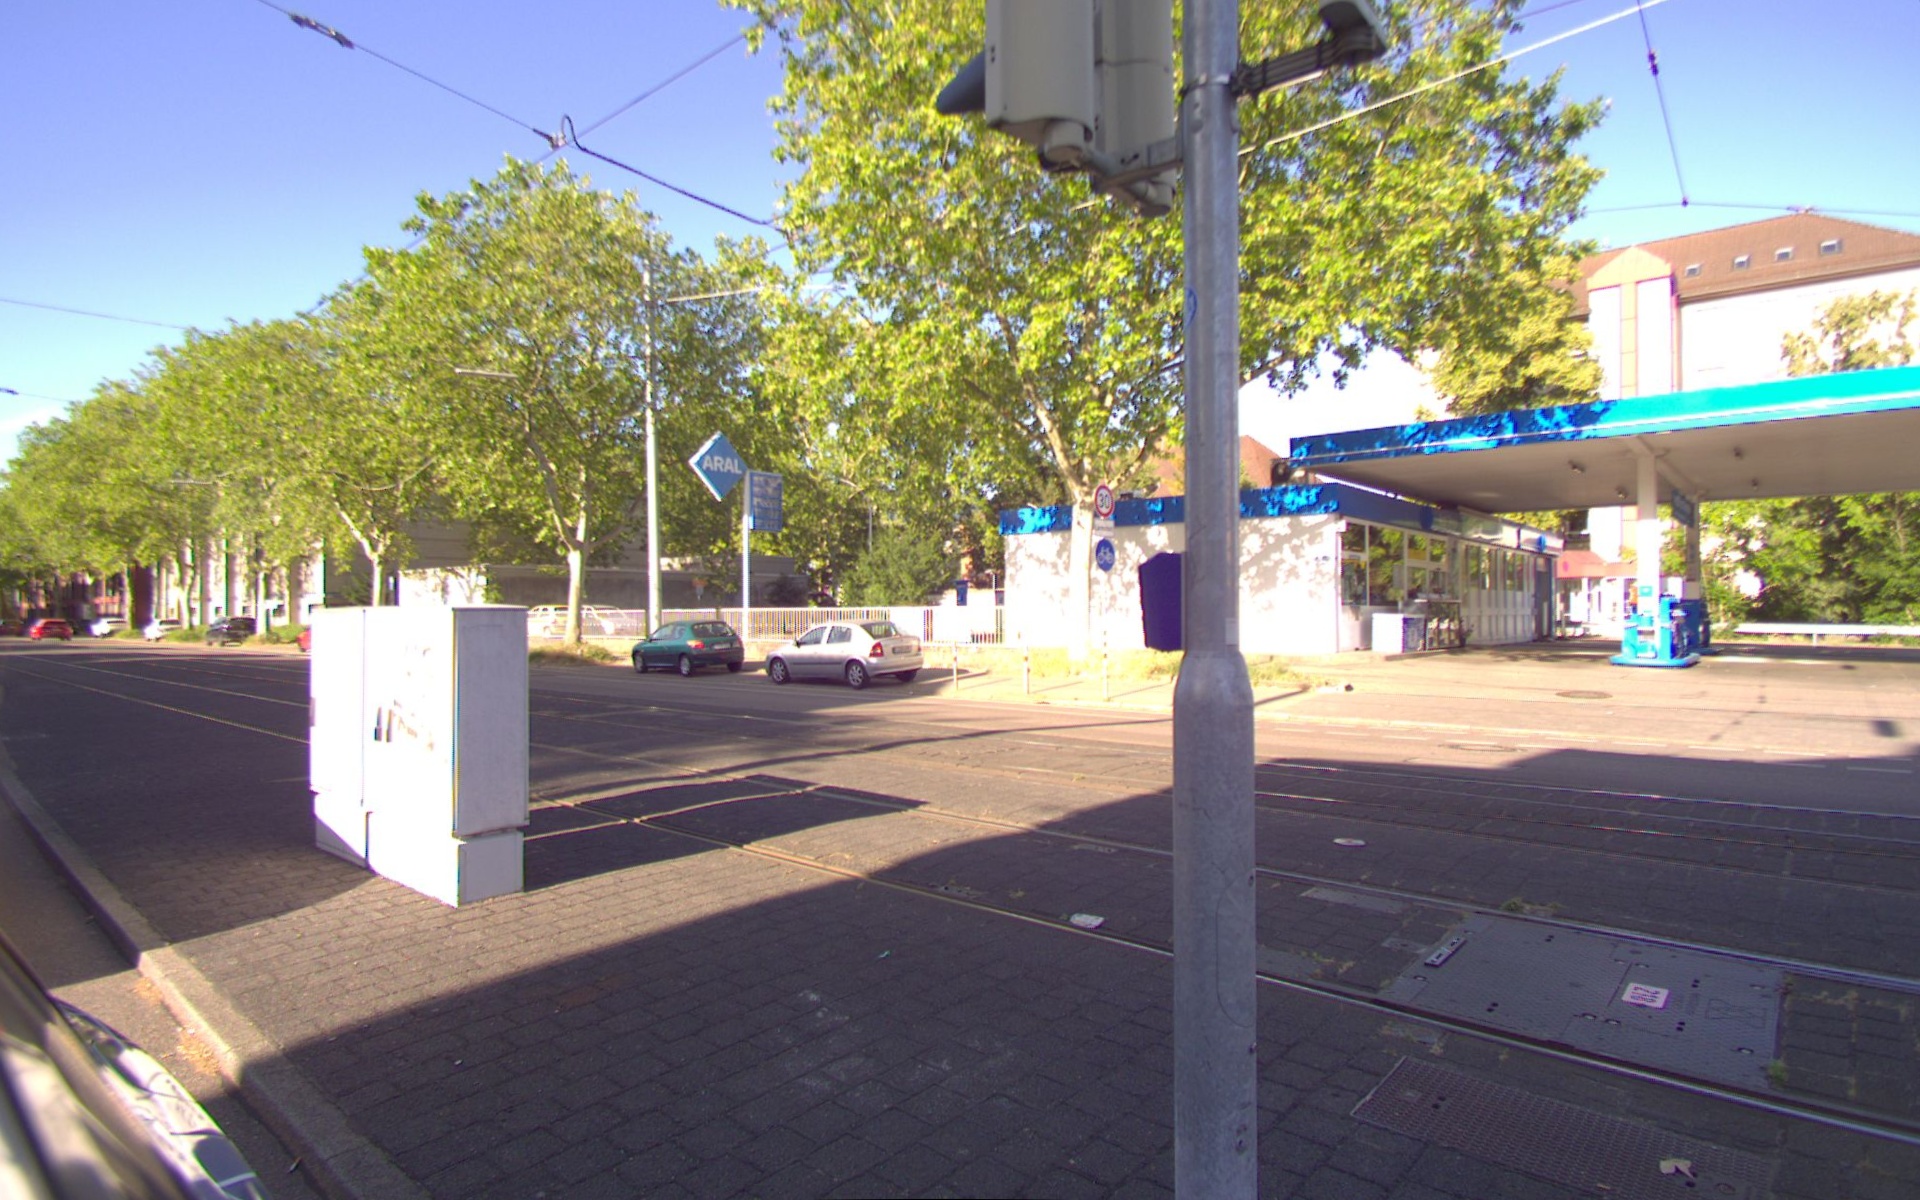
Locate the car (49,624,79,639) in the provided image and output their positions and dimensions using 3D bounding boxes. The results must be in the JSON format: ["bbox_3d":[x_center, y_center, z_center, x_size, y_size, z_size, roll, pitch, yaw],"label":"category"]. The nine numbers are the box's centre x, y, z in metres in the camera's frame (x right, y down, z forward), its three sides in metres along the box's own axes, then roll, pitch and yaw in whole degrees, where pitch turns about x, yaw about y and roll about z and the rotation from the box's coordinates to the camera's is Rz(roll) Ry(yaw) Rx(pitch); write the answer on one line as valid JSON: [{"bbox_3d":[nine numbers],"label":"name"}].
[{"bbox_3d":[-85.172,2.975,96.186,3.998,1.420,1.678,-1,-2,41],"label":"car"}]

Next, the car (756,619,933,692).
[{"bbox_3d":[-2.646,1.173,22.676,3.998,1.431,1.709,-1,0,41],"label":"car"}]

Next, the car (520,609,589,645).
[{"bbox_3d":[-16.824,1.097,41.983,3.151,1.431,1.525,-1,0,44],"label":"car"}]

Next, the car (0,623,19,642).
[{"bbox_3d":[-80.143,2.662,84.536,3.998,1.430,1.678,-1,-9,41],"label":"car"}]

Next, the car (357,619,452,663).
[{"bbox_3d":[-22.139,1.573,40.242,4.431,1.534,1.731,-1,3,40],"label":"car"}]

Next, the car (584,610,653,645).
[{"bbox_3d":[-14.678,1.149,43.464,3.151,1.431,1.525,-1,0,44],"label":"car"}]

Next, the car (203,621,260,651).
[{"bbox_3d":[-40.729,1.982,56.552,3.998,1.587,1.678,-1,-2,41],"label":"car"}]

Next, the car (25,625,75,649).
[{"bbox_3d":[-62.389,2.517,69.378,4.761,1.534,1.887,-1,-2,40],"label":"car"}]

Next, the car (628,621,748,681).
[{"bbox_3d":[-7.249,1.302,26.864,3.253,1.431,1.526,-1,0,41],"label":"car"}]

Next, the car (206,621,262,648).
[{"bbox_3d":[-40.594,1.889,56.592,3.998,1.420,1.678,-1,-2,41],"label":"car"}]

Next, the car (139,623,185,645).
[{"bbox_3d":[-53.803,2.292,68.218,3.998,1.420,1.678,-1,-2,41],"label":"car"}]

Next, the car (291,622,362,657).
[{"bbox_3d":[-29.003,1.762,46.300,3.998,1.480,1.678,0,-1,41],"label":"car"}]

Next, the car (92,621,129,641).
[{"bbox_3d":[-66.803,2.416,79.567,3.998,1.569,1.678,-1,-2,41],"label":"car"}]
